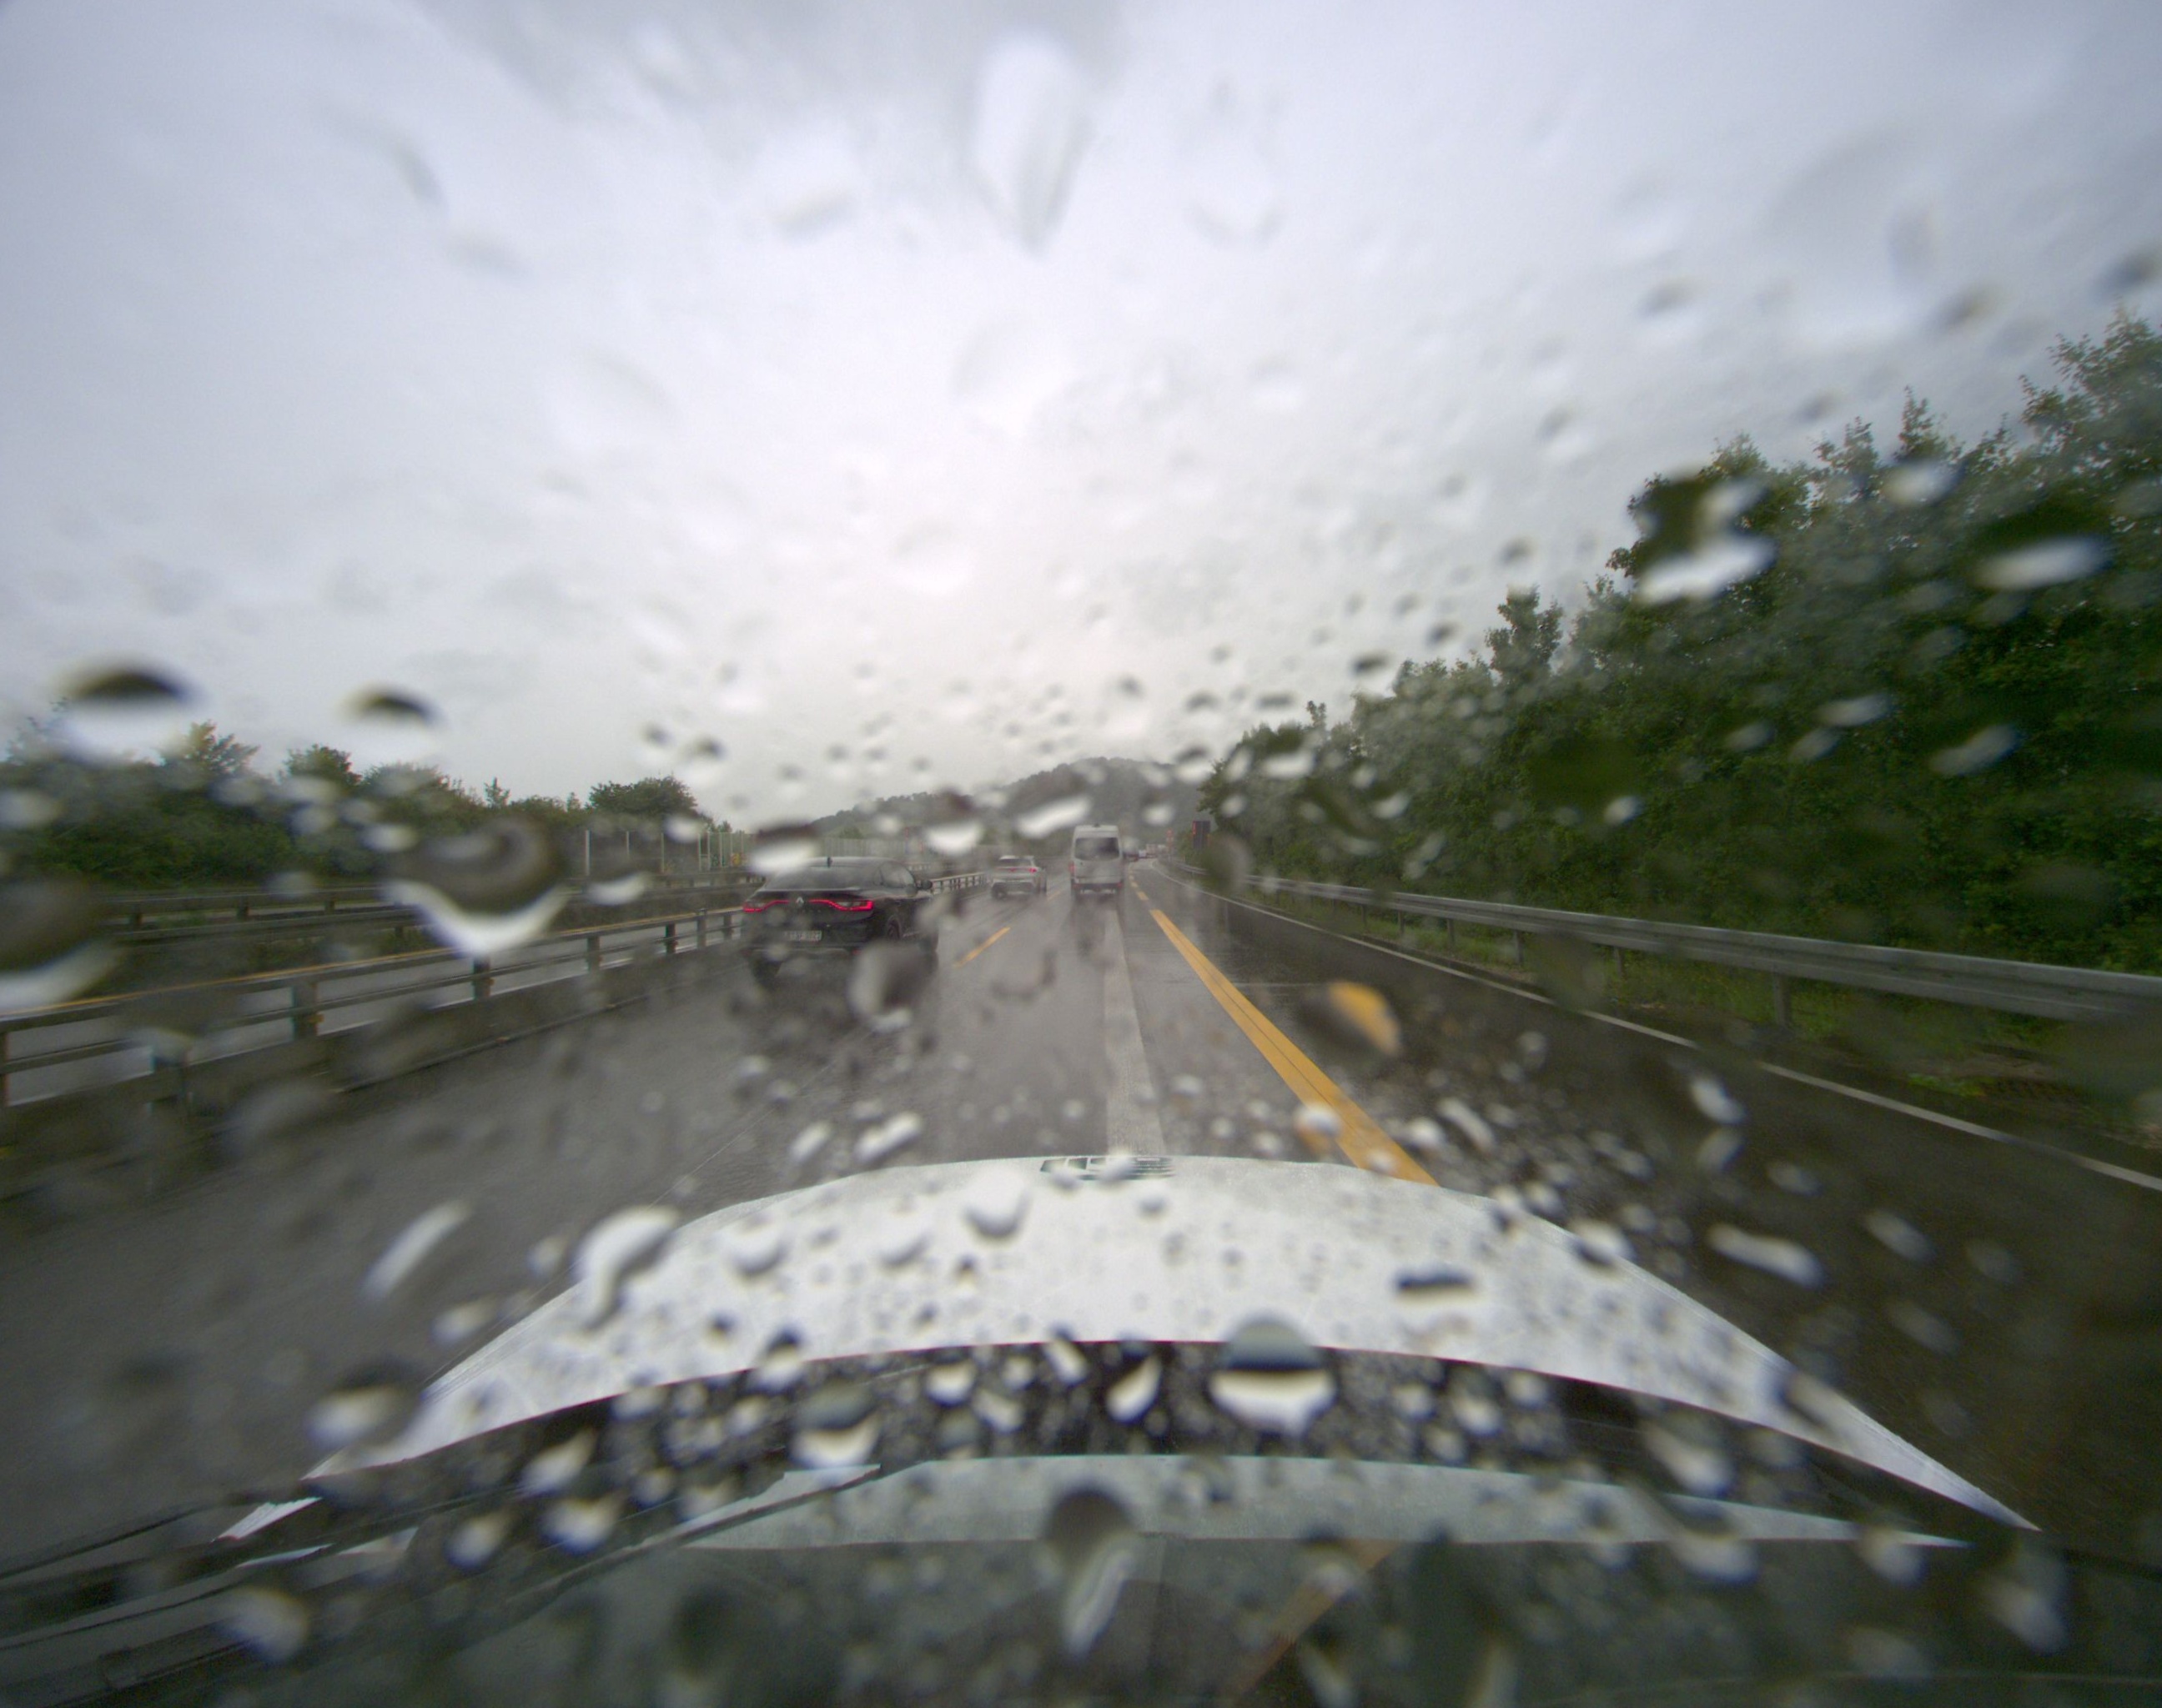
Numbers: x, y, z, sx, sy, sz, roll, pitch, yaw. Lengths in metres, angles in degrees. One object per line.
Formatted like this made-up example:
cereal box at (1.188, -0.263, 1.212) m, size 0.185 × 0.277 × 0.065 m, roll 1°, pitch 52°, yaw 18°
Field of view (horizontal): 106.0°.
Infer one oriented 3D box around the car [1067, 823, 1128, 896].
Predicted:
car at (0.657, 0.209, 31.308) m, size 2.137 × 2.571 × 5.391 m, roll 0°, pitch 0°, yaw 2°

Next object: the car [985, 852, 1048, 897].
car at (-2.424, 0.759, 31.777) m, size 1.987 × 1.617 × 4.796 m, roll 0°, pitch 0°, yaw 1°

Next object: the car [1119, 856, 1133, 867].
car at (6.159, 0.983, 110.458) m, size 1.765 × 1.475 × 4.005 m, roll 0°, pitch 0°, yaw 4°

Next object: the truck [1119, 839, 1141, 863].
truck at (9.057, -0.479, 150.752) m, size 3.563 × 4.406 × 9.641 m, roll 0°, pitch 0°, yaw 6°

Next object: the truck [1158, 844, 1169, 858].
truck at (26.768, -0.947, 264.442) m, size 2.880 × 4.406 × 9.652 m, roll 0°, pitch 0°, yaw 11°

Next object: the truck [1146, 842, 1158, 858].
truck at (20.312, -1.210, 231.696) m, size 3.020 × 4.406 × 9.643 m, roll 0°, pitch 0°, yaw 7°

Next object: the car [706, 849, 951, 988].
car at (-3.249, 0.754, 11.556) m, size 1.986 × 1.585 × 4.415 m, roll 0°, pitch 0°, yaw 1°

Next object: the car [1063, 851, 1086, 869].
car at (-0.559, 0.567, 72.859) m, size 1.940 × 1.561 × 3.999 m, roll 0°, pitch 0°, yaw 0°

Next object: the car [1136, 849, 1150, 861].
car at (14.889, 0.215, 196.428) m, size 2.881 × 2.887 × 6.427 m, roll 0°, pitch 0°, yaw 9°
